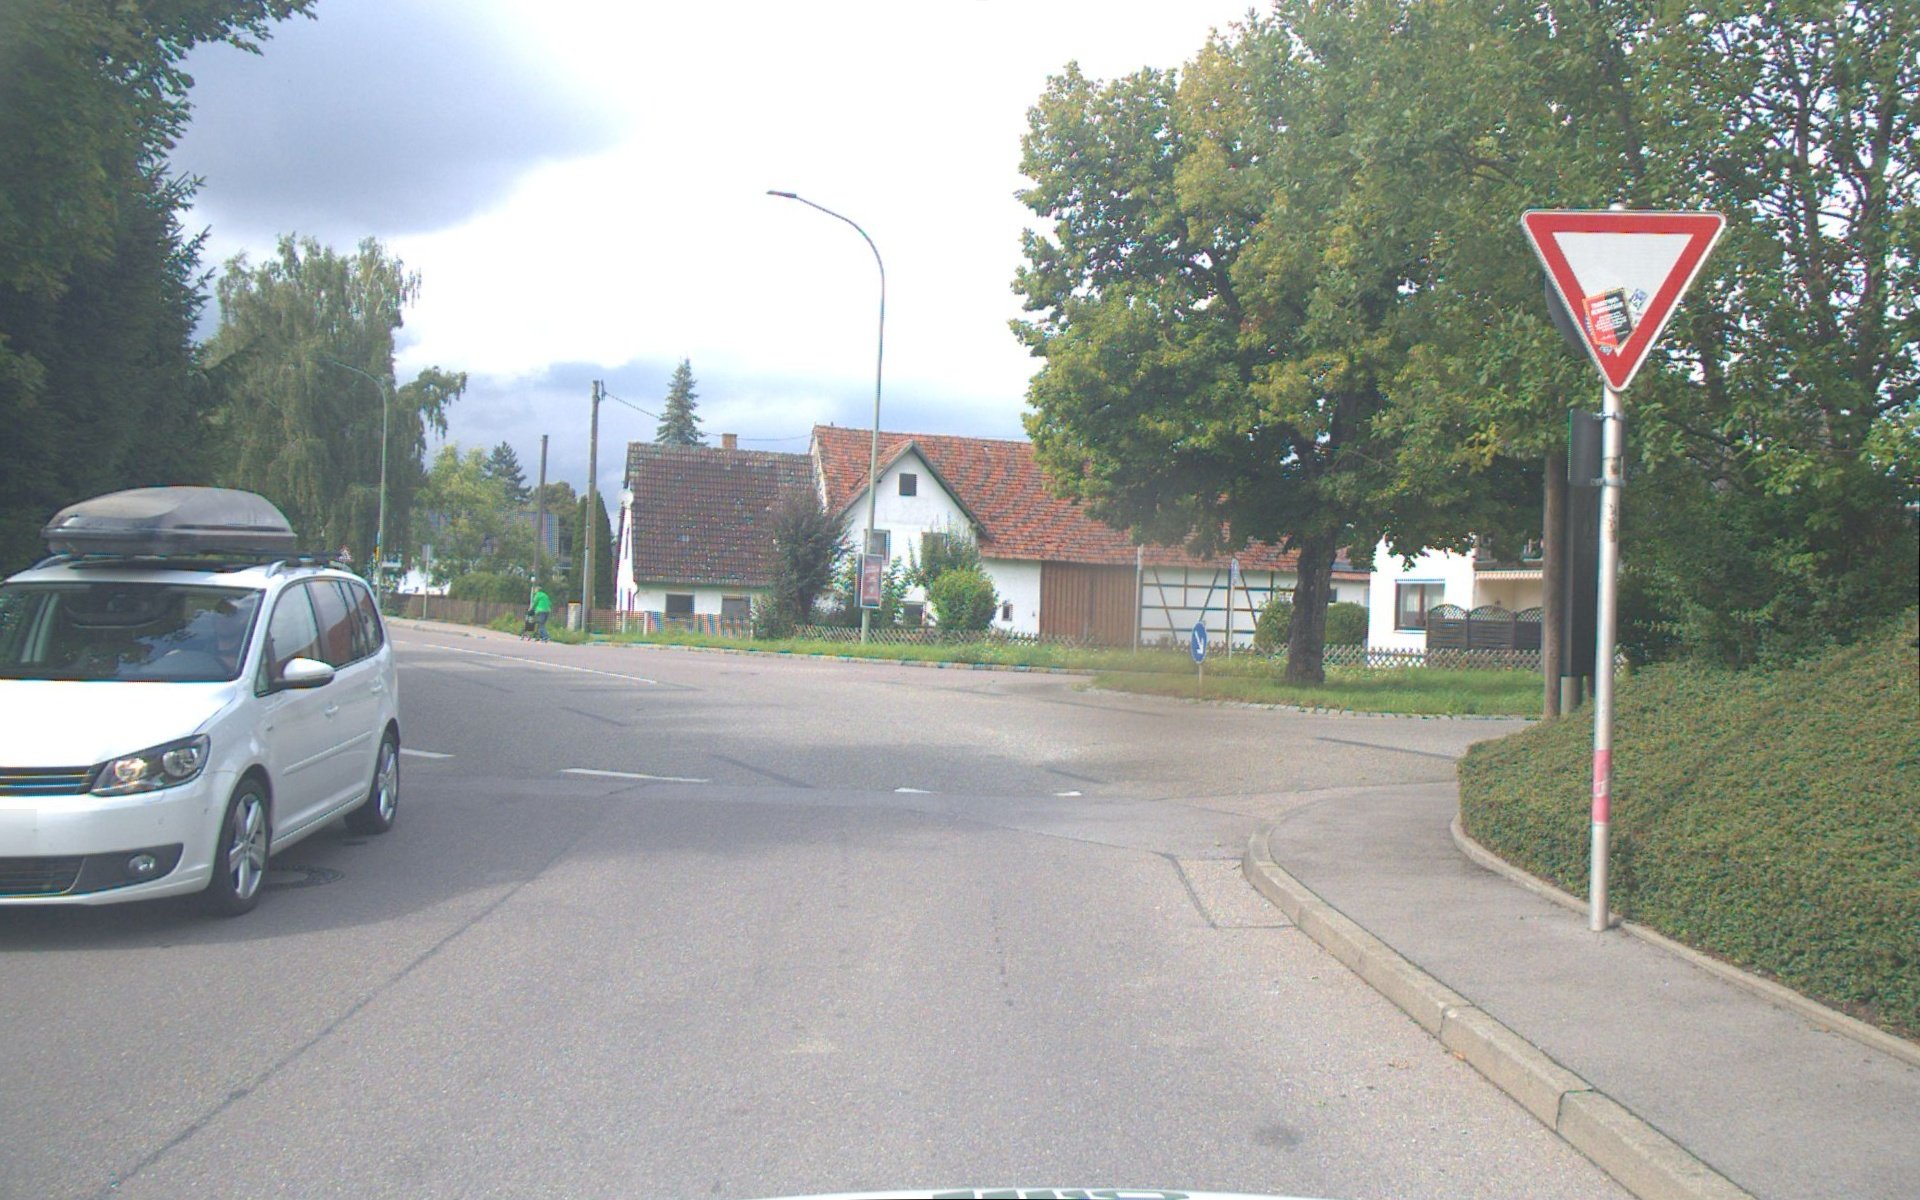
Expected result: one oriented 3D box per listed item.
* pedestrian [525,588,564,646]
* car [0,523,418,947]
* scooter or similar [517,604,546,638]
[{"bbox_3d":[-12.744,0.514,50.729,0.782,1.694,0.704,7,-3,-35],"label":"pedestrian"},{"bbox_3d":[-4.115,0.541,8.618,1.666,1.694,4.026,1,0,-7],"label":"car"},{"bbox_3d":[-13.278,0.654,51.220,0.625,0.964,0.615,7,-3,-34],"label":"scooter or similar"}]
